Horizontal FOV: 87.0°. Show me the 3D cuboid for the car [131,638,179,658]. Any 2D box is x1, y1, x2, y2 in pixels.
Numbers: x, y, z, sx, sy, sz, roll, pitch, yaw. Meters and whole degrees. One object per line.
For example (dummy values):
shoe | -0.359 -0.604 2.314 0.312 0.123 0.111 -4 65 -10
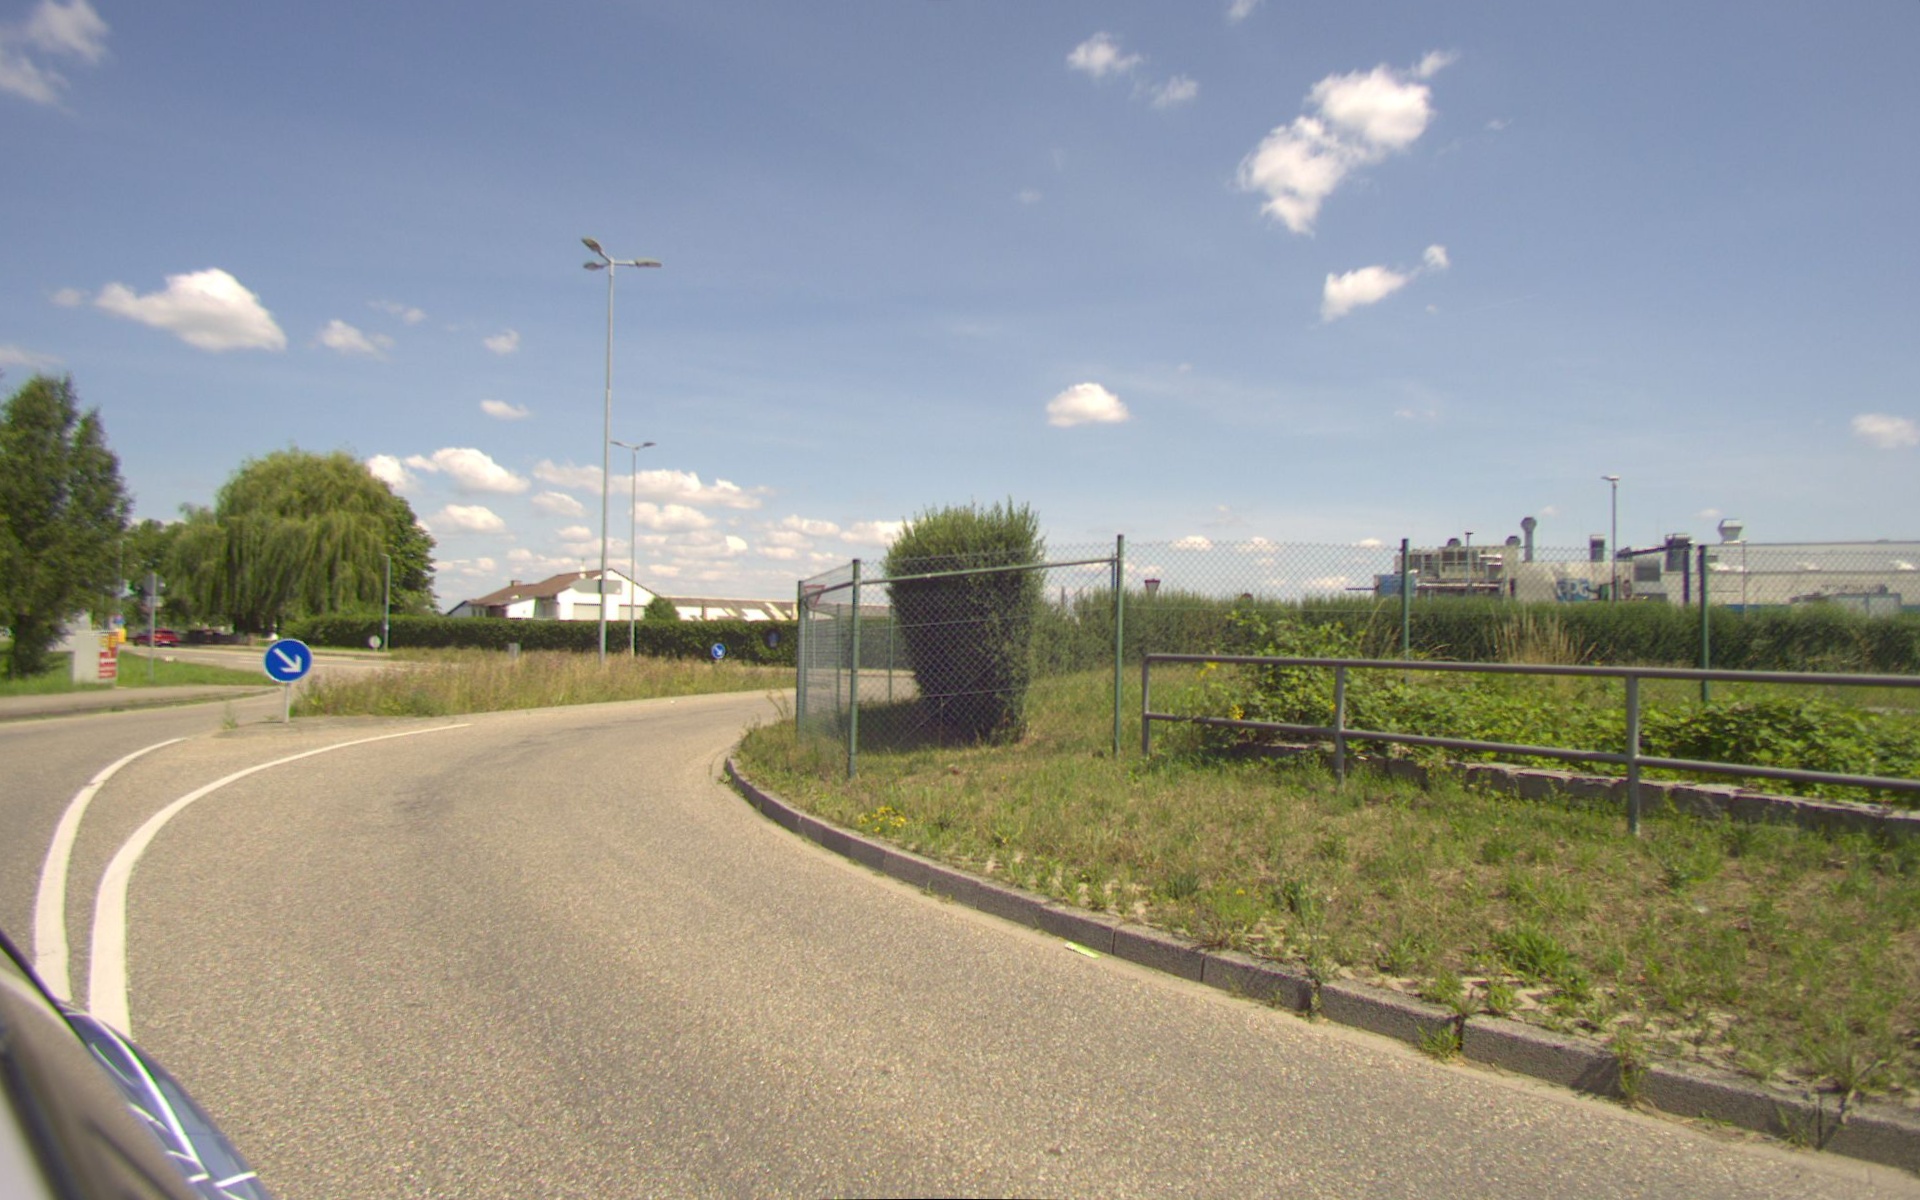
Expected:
car | -61.796 3.669 77.656 4.381 1.475 1.862 -2 -4 38
